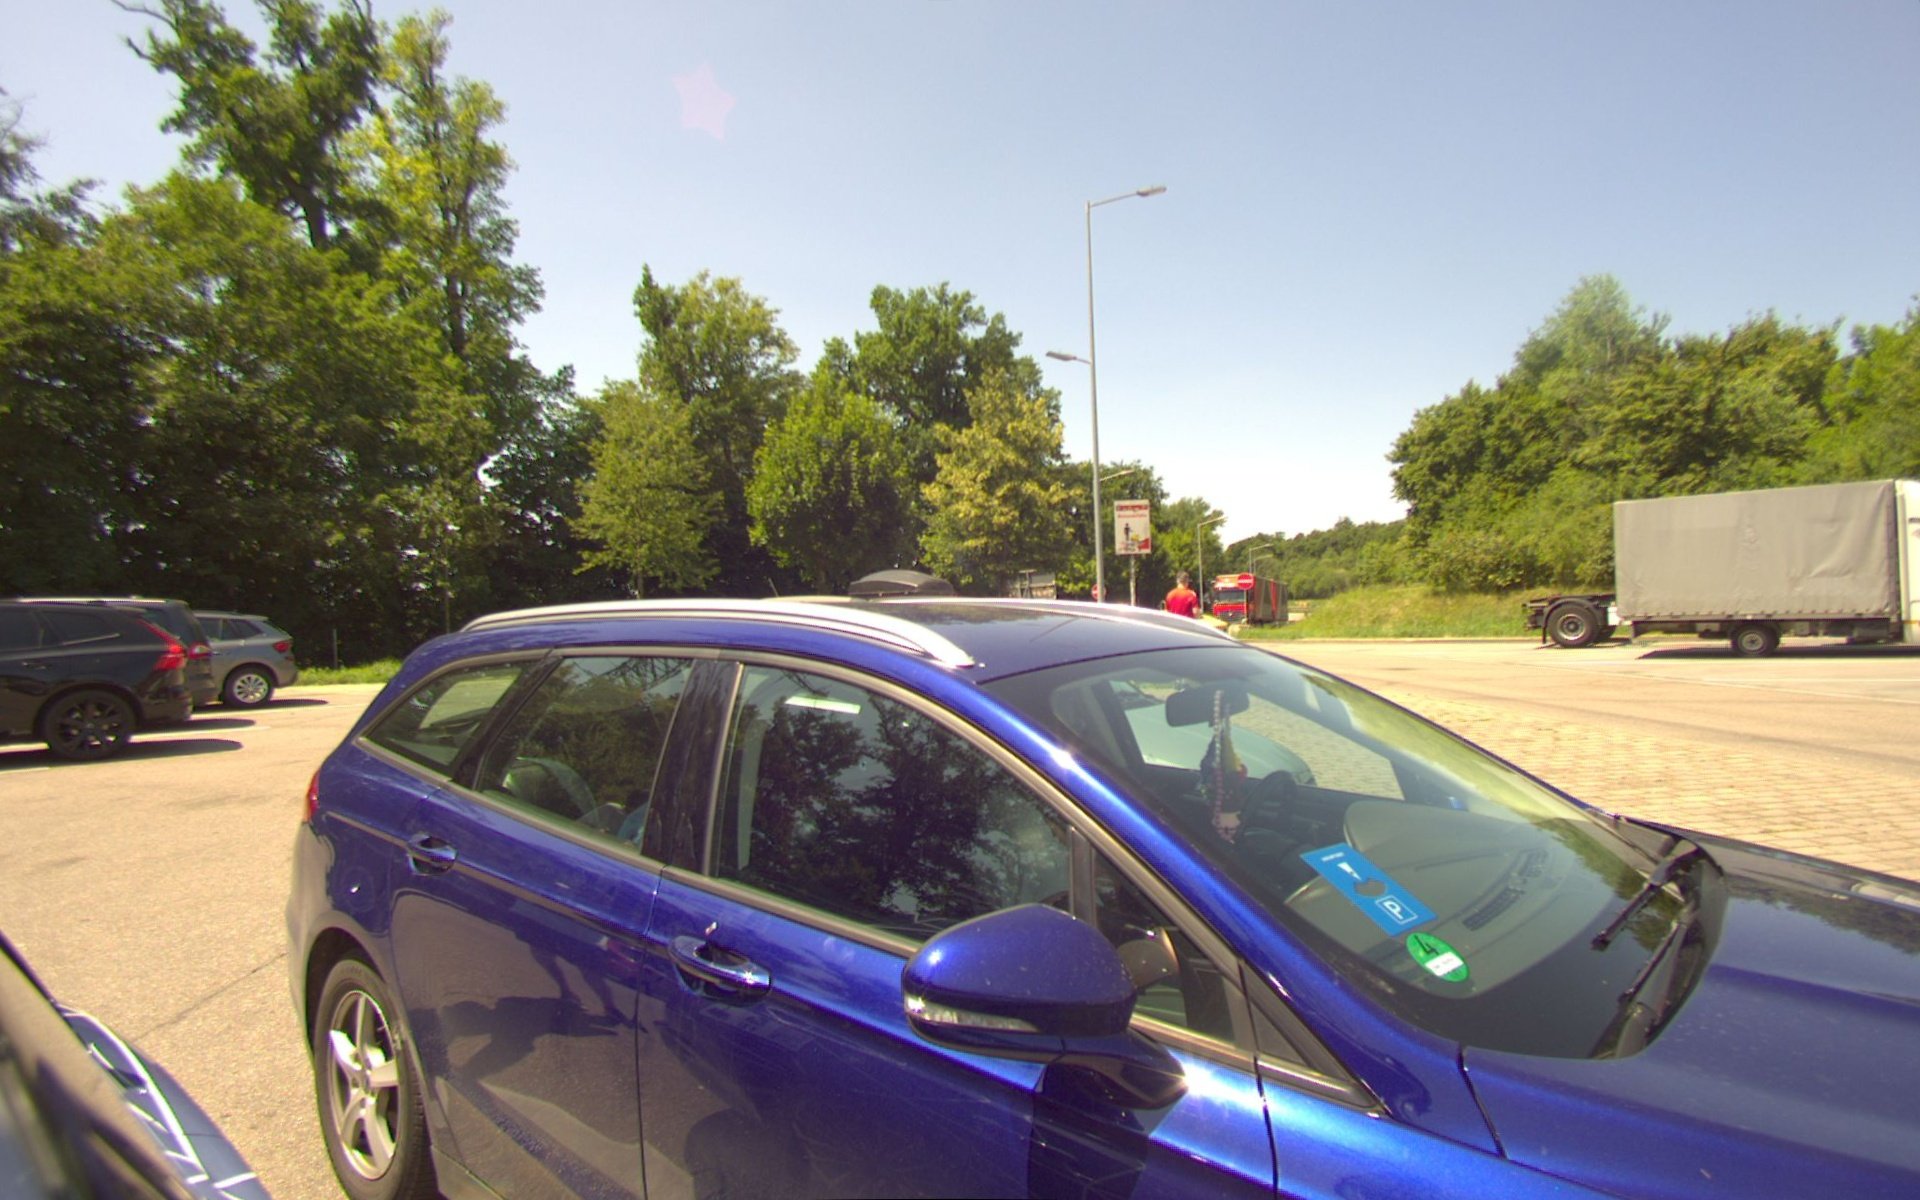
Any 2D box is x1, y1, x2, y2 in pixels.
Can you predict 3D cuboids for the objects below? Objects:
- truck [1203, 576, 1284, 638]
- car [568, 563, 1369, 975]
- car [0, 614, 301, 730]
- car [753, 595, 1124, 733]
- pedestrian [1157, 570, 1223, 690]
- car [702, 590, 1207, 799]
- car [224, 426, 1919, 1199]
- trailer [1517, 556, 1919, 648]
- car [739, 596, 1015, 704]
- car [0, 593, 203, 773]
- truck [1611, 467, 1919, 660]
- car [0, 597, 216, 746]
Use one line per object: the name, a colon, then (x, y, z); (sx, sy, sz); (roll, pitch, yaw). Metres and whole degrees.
truck: (21.402, 0.426, 75.548); (3.116, 4.150, 15.265); (-1, 0, 26)
car: (-0.253, 0.693, 5.841); (4.490, 1.511, 1.754); (-3, -1, 40)
car: (-12.591, 1.001, 15.471); (1.687, 1.515, 3.943); (-1, 0, 43)
car: (-0.380, 0.774, 12.763); (4.485, 1.437, 1.756); (-3, -1, 36)
pedestrian: (3.471, 0.436, 15.248); (0.675, 1.746, 0.823); (-2, -1, 37)
car: (-0.239, 0.748, 9.216); (4.490, 1.437, 1.754); (-3, -1, 40)
car: (0.258, 0.660, 2.143); (4.490, 1.502, 1.851); (-3, 0, 40)
trailer: (17.260, 0.126, 23.396); (7.295, 1.701, 2.235); (-4, -1, 43)
car: (-1.471, 0.825, 16.863); (4.485, 1.562, 1.756); (-3, -1, 36)
car: (-10.402, 0.808, 9.872); (2.000, 1.725, 4.553); (-1, 0, 42)
truck: (16.834, -0.655, 18.968); (7.295, 3.259, 2.709); (-4, -1, 43)
car: (-11.937, 0.856, 12.307); (4.553, 1.725, 1.741); (0, -1, -41)
